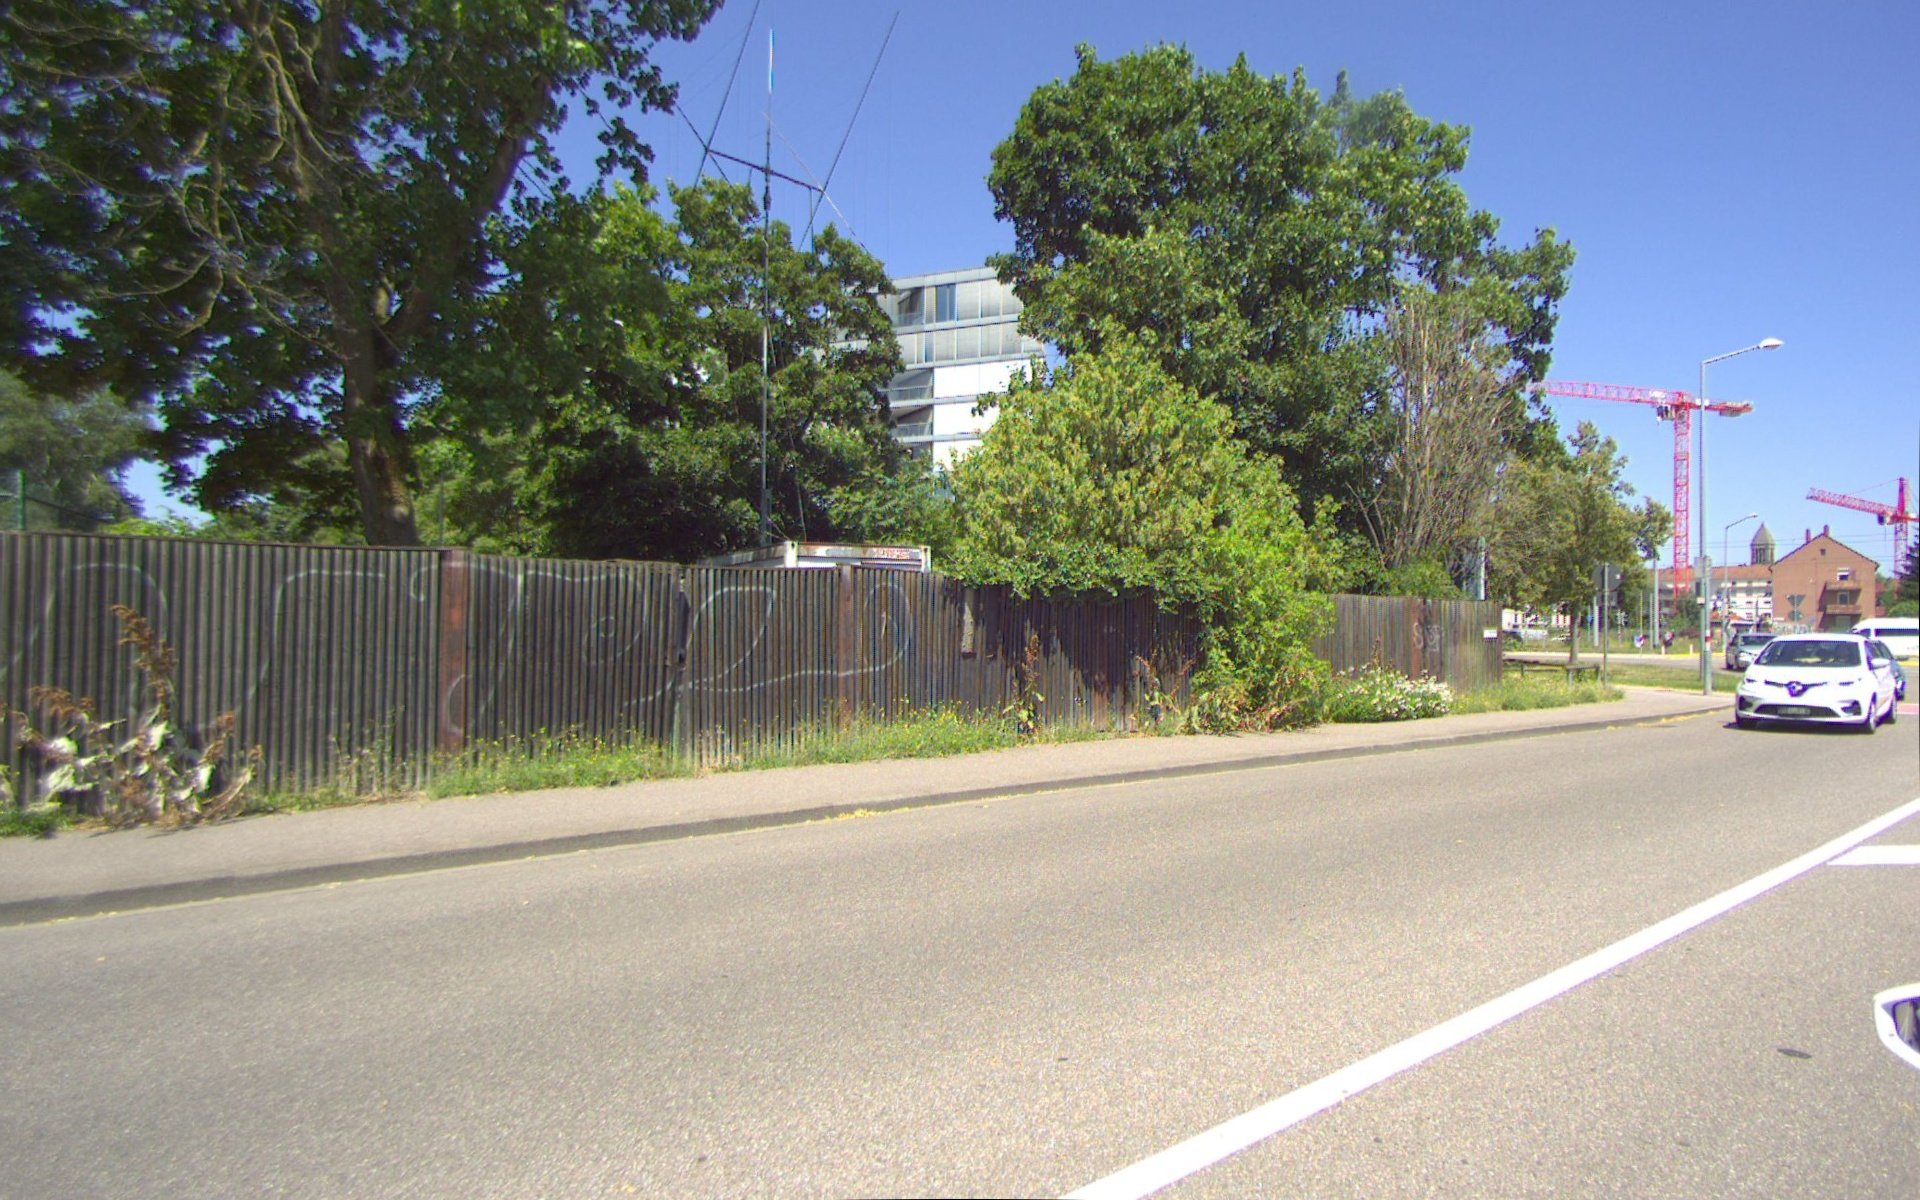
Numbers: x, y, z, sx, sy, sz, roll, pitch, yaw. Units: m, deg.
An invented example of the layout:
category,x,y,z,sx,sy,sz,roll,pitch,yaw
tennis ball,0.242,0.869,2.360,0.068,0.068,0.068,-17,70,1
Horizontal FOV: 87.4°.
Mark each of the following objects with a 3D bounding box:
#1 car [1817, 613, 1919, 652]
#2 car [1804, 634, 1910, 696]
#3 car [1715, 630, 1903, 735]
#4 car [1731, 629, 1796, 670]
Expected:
category,x,y,z,sx,sy,sz,roll,pitch,yaw
car,61.851,2.213,68.144,5.228,2.429,1.992,2,0,26
car,22.881,1.588,25.566,4.303,1.390,1.729,2,0,-45
car,14.305,1.292,16.866,3.840,1.547,1.761,1,-2,-40
car,31.307,1.882,39.243,1.704,1.421,4.257,2,0,36
